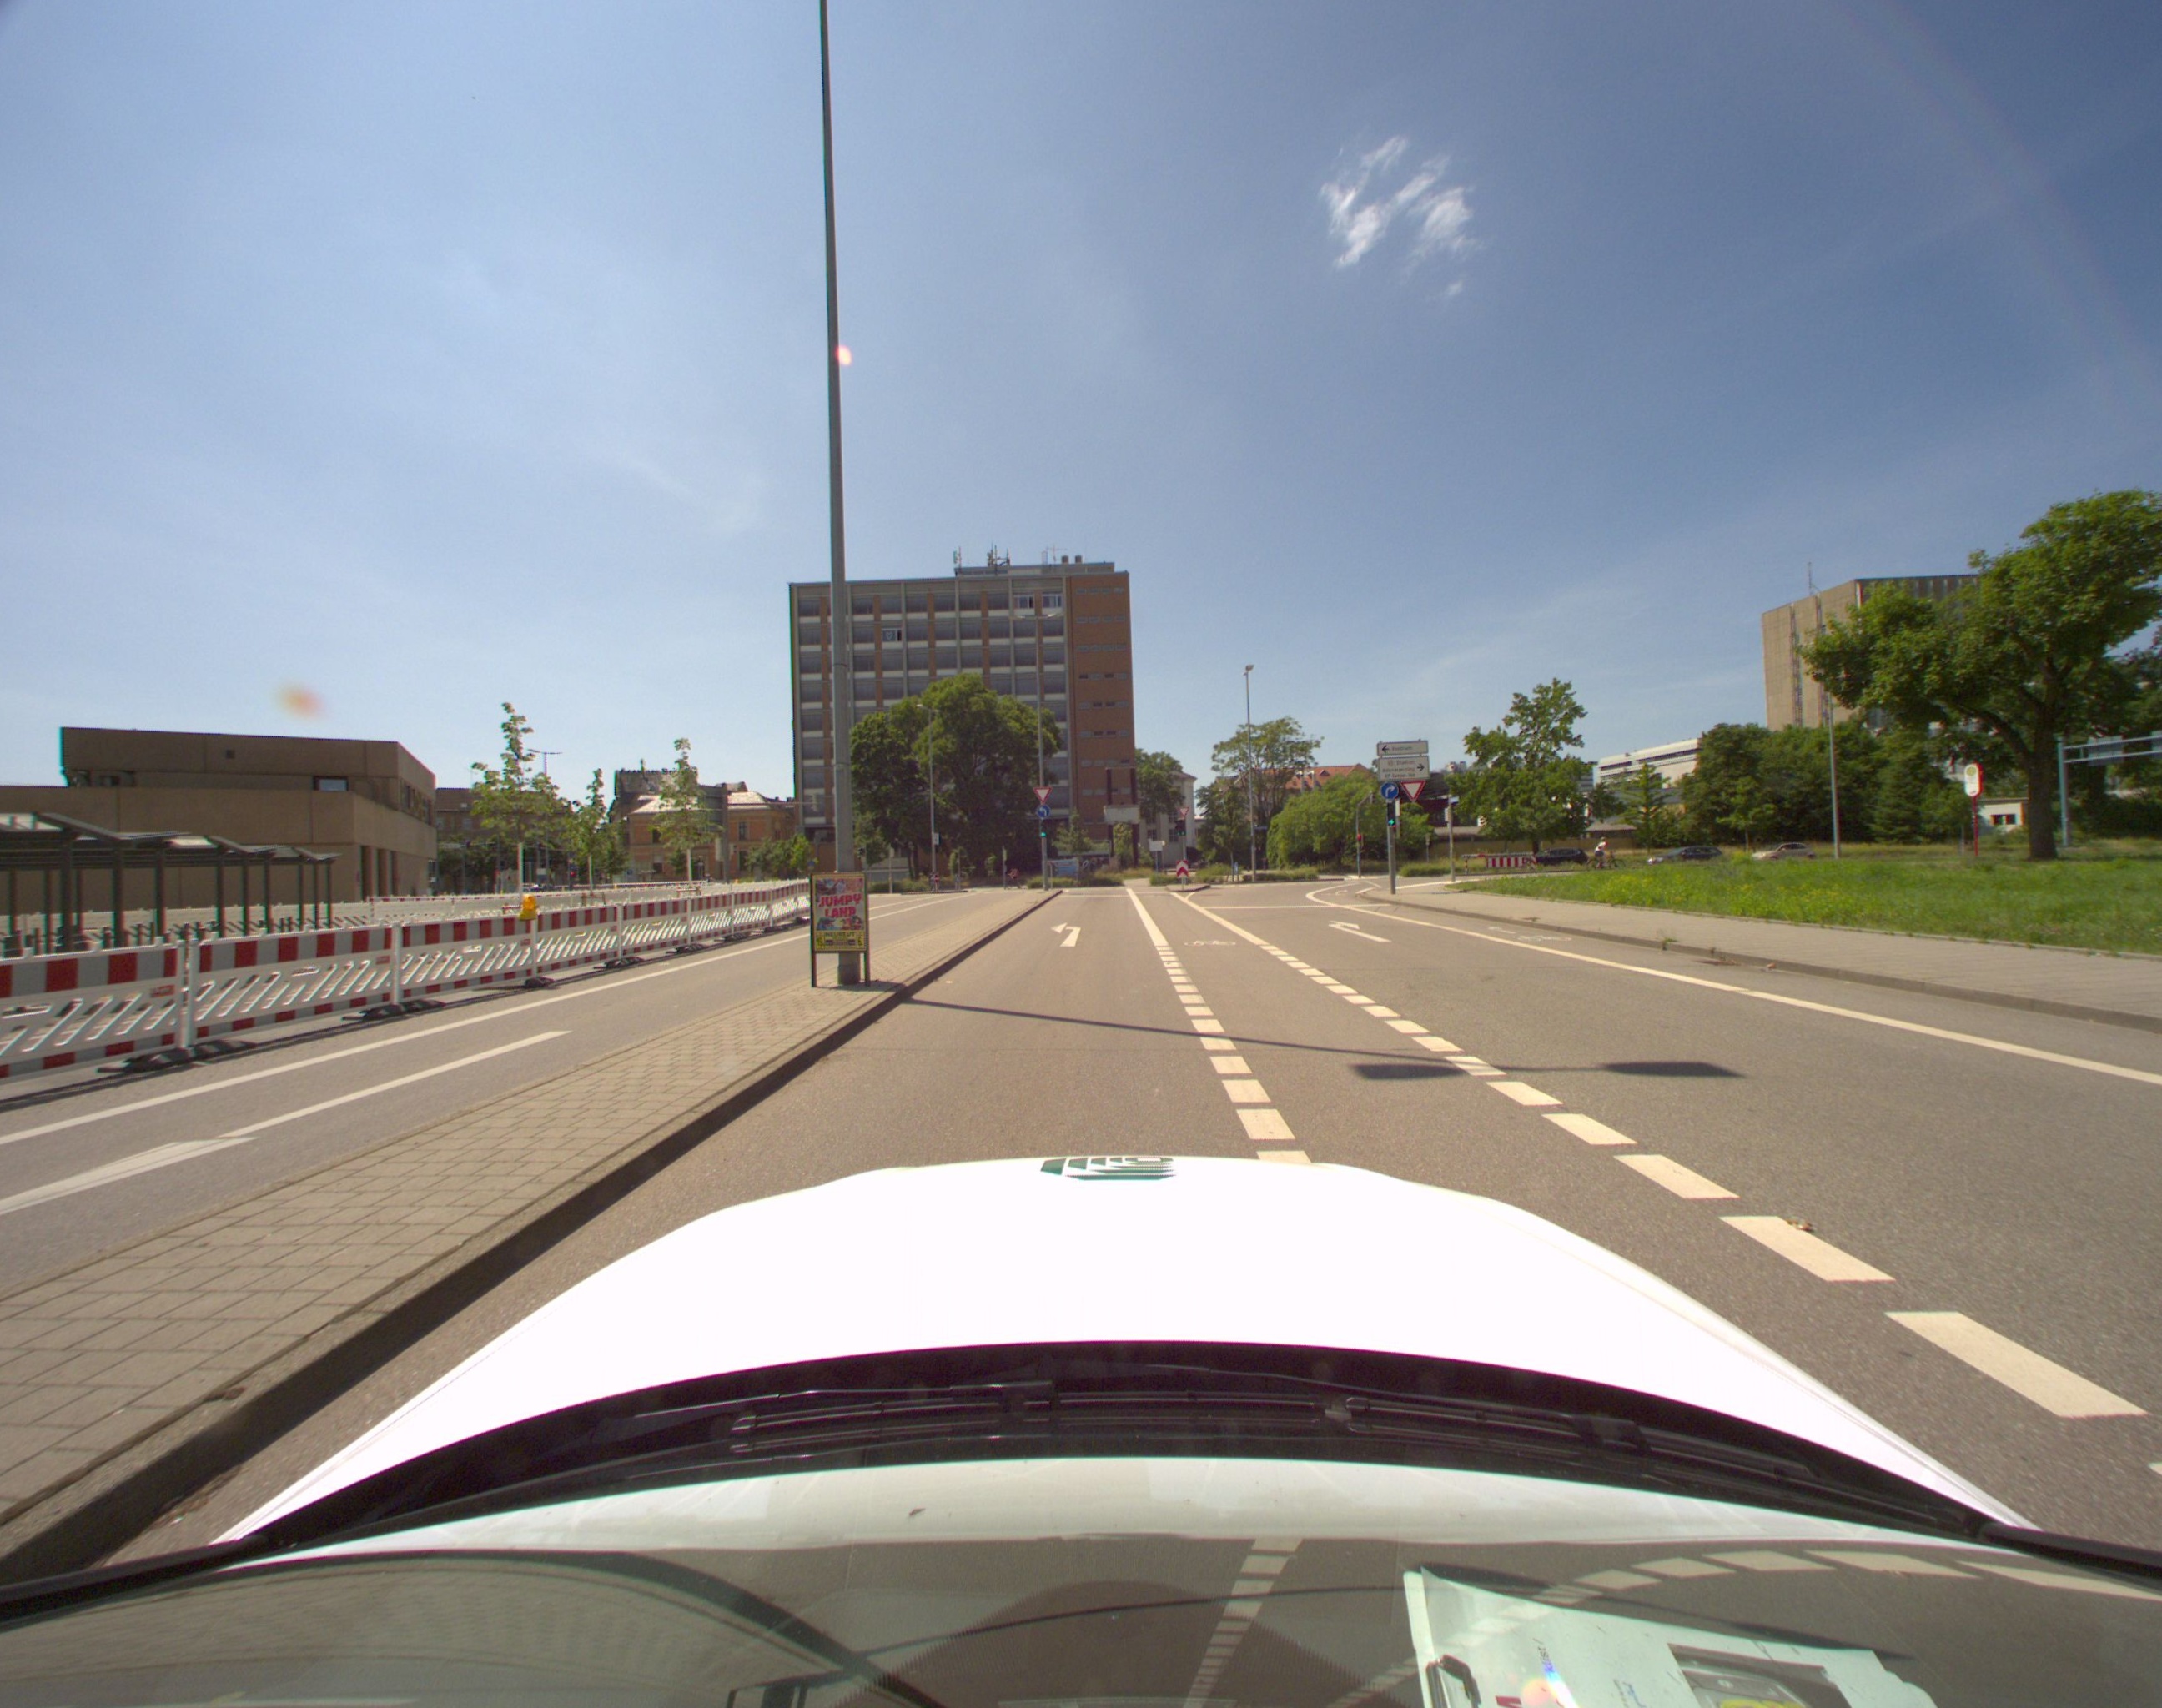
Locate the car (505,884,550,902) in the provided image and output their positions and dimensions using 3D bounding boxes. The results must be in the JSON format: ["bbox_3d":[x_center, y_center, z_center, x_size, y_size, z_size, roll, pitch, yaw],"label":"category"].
[{"bbox_3d":[-52.688,3.706,77.513,4.528,1.557,1.733,-3,-1,30],"label":"car"}]

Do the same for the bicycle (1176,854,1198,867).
[{"bbox_3d":[16.506,1.033,126.731,3.432,2.014,0.761,0,-1,3],"label":"bicycle"}]

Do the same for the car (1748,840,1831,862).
[{"bbox_3d":[47.315,-0.208,54.429,3.972,1.439,1.760,0,-1,1],"label":"car"}]

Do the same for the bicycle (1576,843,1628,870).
[{"bbox_3d":[24.043,0.114,37.589,2.182,1.237,0.520,0,-1,-6],"label":"bicycle"}]

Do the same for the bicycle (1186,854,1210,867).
[{"bbox_3d":[17.570,0.959,122.438,3.432,2.014,0.761,0,-1,3],"label":"bicycle"}]

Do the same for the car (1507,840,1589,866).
[{"bbox_3d":[31.904,-0.036,55.776,4.516,1.586,1.713,-3,-1,7],"label":"car"}]

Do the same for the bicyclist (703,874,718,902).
[{"bbox_3d":[-21.441,1.945,47.087,0.492,1.580,0.534,-3,-2,19],"label":"bicyclist"}]

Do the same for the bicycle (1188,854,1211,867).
[{"bbox_3d":[17.629,0.956,121.258,3.432,2.014,0.761,0,-1,3],"label":"bicycle"}]

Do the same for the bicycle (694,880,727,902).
[{"bbox_3d":[-21.434,2.152,47.132,1.876,1.180,0.527,-3,-2,19],"label":"bicycle"}]

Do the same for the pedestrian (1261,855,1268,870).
[{"bbox_3d":[20.422,0.988,90.625,0.637,1.665,0.707,0,-1,1],"label":"pedestrian"}]

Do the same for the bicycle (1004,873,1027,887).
[{"bbox_3d":[-5.291,2.113,66.034,0.551,1.045,2.009,-1,1,43],"label":"bicycle"}]

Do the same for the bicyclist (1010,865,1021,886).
[{"bbox_3d":[-5.289,1.753,66.042,0.544,1.715,0.707,-1,0,43],"label":"bicyclist"}]

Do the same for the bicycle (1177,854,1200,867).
[{"bbox_3d":[16.366,1.004,124.447,3.432,2.014,0.761,0,-1,3],"label":"bicycle"}]

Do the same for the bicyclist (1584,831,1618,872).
[{"bbox_3d":[24.039,-0.123,37.648,1.134,1.887,0.707,0,-1,-7],"label":"bicyclist"}]
